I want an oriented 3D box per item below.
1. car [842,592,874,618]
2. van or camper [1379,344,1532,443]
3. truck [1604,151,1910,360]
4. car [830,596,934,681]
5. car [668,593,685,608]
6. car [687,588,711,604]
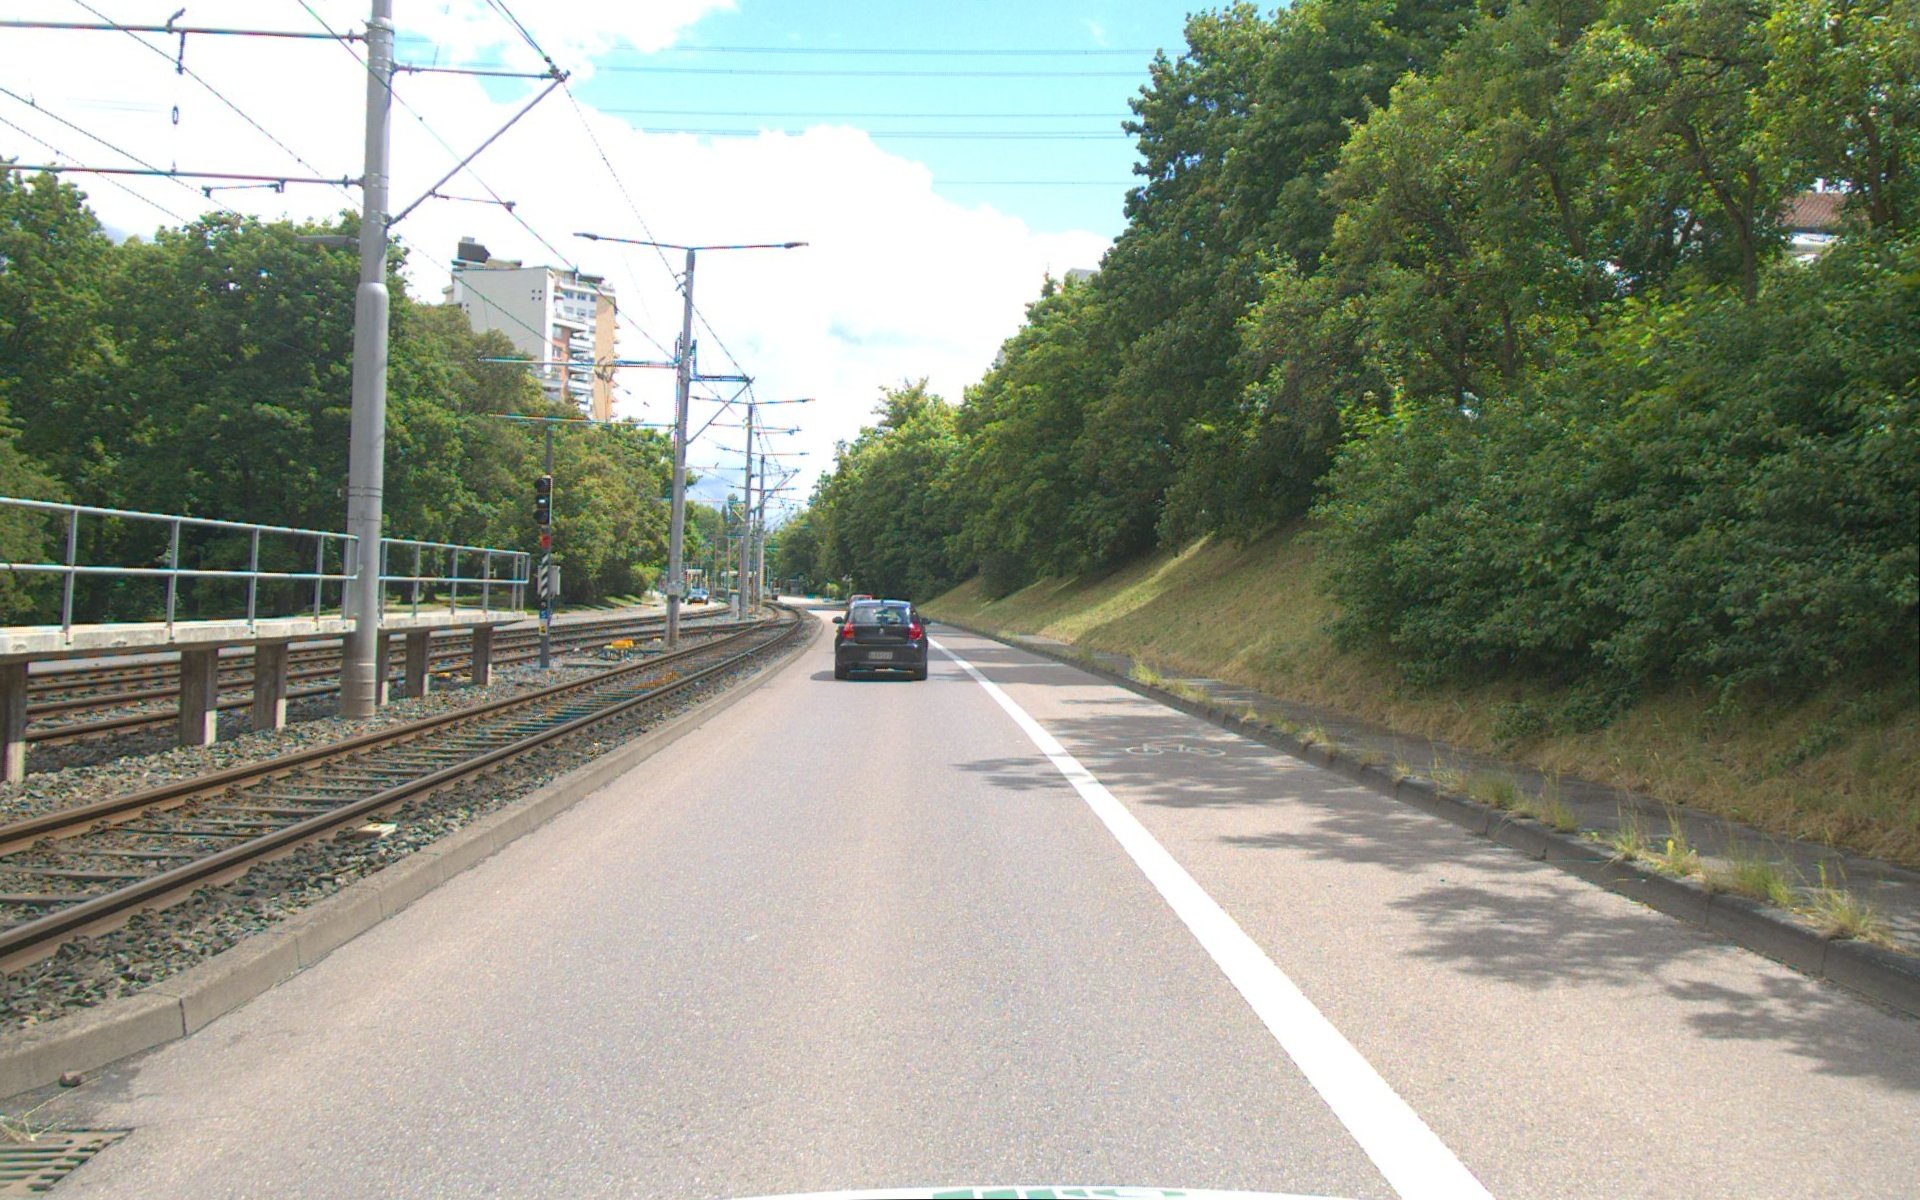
[{"bbox_3d":[-5.991,0.279,96.649,1.746,1.485,3.917,1,0,-5],"label":"car"},{"bbox_3d":[14.552,-6.025,49.032,2.173,2.106,6.155,1,0,-6],"label":"van or camper"},{"bbox_3d":[15.765,-6.731,33.382,2.304,2.705,7.033,1,0,-5],"label":"truck"},{"bbox_3d":[-1.515,0.671,30.935,1.747,1.485,3.916,0,0,-6],"label":"car"},{"bbox_3d":[-29.799,0.057,173.670,1.742,1.525,3.988,1,0,-10],"label":"car"},{"bbox_3d":[-24.702,-0.366,156.438,1.799,1.415,4.858,-1,0,-4],"label":"car"}]
